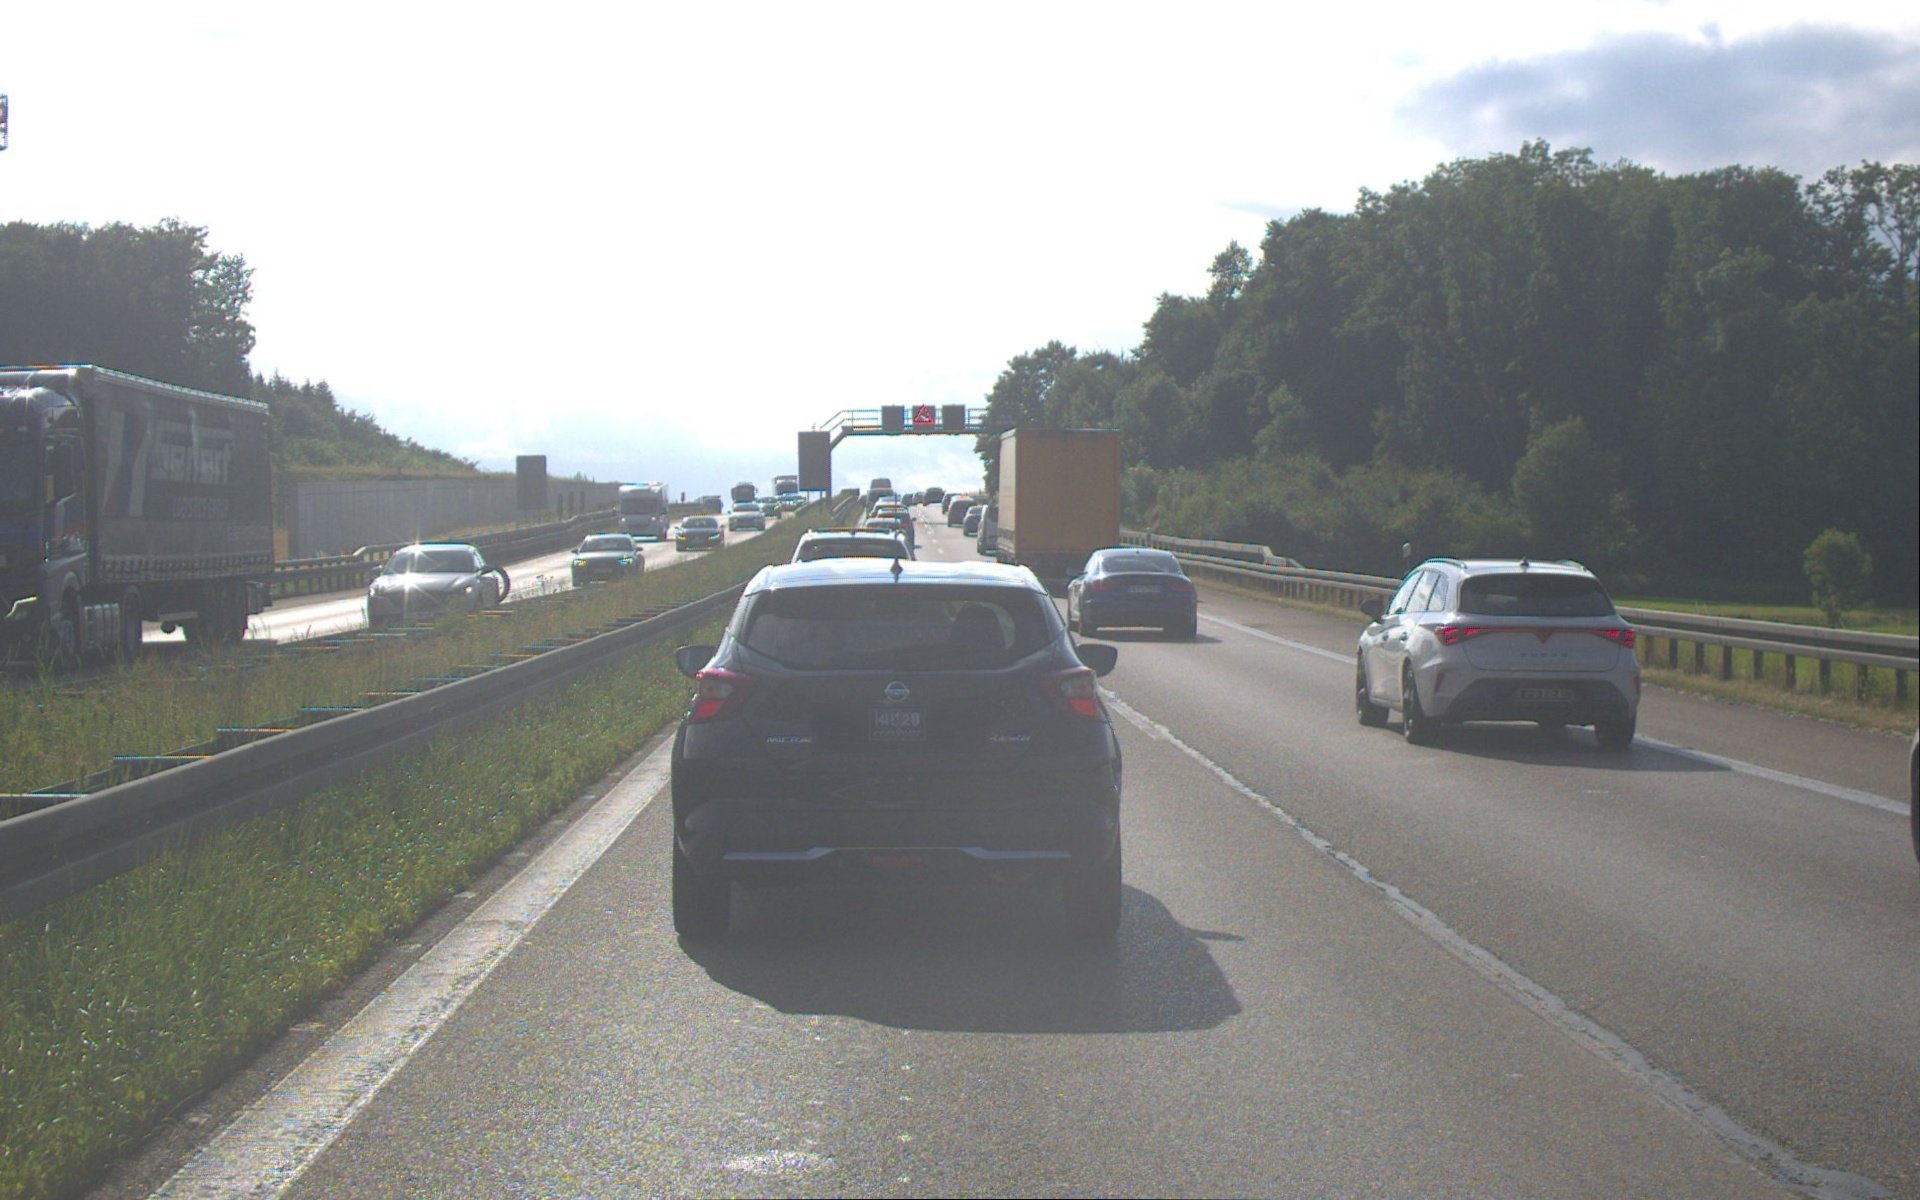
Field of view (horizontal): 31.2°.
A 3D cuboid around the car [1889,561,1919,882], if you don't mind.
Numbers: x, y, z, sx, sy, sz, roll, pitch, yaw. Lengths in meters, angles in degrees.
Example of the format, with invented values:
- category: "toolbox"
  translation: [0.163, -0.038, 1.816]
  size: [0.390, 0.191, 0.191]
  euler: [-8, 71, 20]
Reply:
- category: "car"
  translation: [5.298, 0.603, 14.778]
  size: [1.548, 1.490, 3.378]
  euler: [1, 1, -2]

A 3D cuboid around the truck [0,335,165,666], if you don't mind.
- category: "truck"
  translation: [-12.710, -1.248, 45.735]
  size: [2.754, 4.076, 6.953]
  euler: [0, 0, -1]

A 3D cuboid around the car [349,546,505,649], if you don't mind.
- category: "car"
  translation: [-8.895, -0.052, 57.748]
  size: [1.888, 1.626, 5.111]
  euler: [1, 0, -1]

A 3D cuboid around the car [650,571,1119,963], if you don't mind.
- category: "car"
  translation: [-0.262, 0.604, 14.330]
  size: [1.710, 1.421, 3.378]
  euler: [1, 0, 1]

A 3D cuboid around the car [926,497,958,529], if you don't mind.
- category: "car"
  translation: [-1.220, -5.786, 229.700]
  size: [1.993, 2.007, 4.000]
  euler: [1, 0, -2]

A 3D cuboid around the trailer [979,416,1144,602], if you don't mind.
- category: "trailer"
  translation: [2.480, -2.240, 89.215]
  size: [3.548, 4.442, 12.723]
  euler: [1, 0, -1]

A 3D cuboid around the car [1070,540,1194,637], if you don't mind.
- category: "car"
  translation: [2.700, -0.188, 54.685]
  size: [1.747, 1.470, 4.147]
  euler: [1, 0, 0]

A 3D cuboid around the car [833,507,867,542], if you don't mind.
- category: "car"
  translation: [-6.567, -4.506, 206.255]
  size: [1.993, 2.007, 4.000]
  euler: [1, 0, -2]

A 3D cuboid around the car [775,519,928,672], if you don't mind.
- category: "car"
  translation: [-1.251, -0.056, 40.907]
  size: [1.674, 1.720, 3.596]
  euler: [1, 0, 0]

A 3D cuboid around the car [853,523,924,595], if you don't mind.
- category: "car"
  translation: [-2.090, -1.186, 100.072]
  size: [1.993, 2.007, 4.000]
  euler: [1, 0, -2]

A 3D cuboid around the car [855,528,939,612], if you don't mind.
- category: "car"
  translation: [-1.584, -0.734, 85.075]
  size: [1.993, 2.007, 4.000]
  euler: [1, 0, -2]

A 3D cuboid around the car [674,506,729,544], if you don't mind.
- category: "car"
  translation: [-10.490, -3.037, 139.652]
  size: [1.993, 1.428, 4.449]
  euler: [1, 0, -2]

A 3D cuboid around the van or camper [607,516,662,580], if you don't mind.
- category: "van or camper"
  translation: [-15.874, -2.507, 167.783]
  size: [2.225, 3.068, 6.514]
  euler: [1, 0, -2]

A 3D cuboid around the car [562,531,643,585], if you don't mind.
- category: "car"
  translation: [-10.070, -1.183, 97.072]
  size: [1.902, 1.459, 4.184]
  euler: [1, 0, -1]

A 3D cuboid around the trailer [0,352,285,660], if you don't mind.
- category: "trailer"
  translation: [-12.822, -1.298, 52.234]
  size: [2.759, 4.101, 12.904]
  euler: [0, 0, -1]

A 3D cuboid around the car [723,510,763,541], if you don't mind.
- category: "car"
  translation: [-11.979, -4.114, 190.025]
  size: [1.993, 1.587, 4.449]
  euler: [1, 0, -2]

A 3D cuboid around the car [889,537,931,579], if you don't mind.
- category: "car"
  translation: [-2.109, -1.770, 146.256]
  size: [1.667, 1.749, 3.327]
  euler: [1, 0, 1]

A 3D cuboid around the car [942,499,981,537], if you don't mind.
- category: "car"
  translation: [0.071, -4.518, 189.259]
  size: [1.993, 2.007, 4.000]
  euler: [1, 0, -2]

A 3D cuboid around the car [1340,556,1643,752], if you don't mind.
- category: "car"
  translation: [4.186, 0.389, 27.650]
  size: [1.620, 1.441, 4.147]
  euler: [1, 0, -2]

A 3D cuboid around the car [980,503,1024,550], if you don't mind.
- category: "car"
  translation: [1.641, -2.876, 134.911]
  size: [1.667, 1.749, 3.327]
  euler: [1, 0, 1]

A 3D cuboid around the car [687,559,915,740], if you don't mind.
- category: "car"
  translation: [-1.240, 0.370, 28.078]
  size: [1.674, 1.362, 3.596]
  euler: [1, 0, 0]

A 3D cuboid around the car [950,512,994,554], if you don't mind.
- category: "car"
  translation: [0.576, -3.269, 168.208]
  size: [1.993, 2.007, 4.000]
  euler: [1, 0, -2]

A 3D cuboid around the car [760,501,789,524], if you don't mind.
- category: "car"
  translation: [-12.395, -5.840, 229.699]
  size: [1.853, 1.428, 4.449]
  euler: [0, 0, -2]
